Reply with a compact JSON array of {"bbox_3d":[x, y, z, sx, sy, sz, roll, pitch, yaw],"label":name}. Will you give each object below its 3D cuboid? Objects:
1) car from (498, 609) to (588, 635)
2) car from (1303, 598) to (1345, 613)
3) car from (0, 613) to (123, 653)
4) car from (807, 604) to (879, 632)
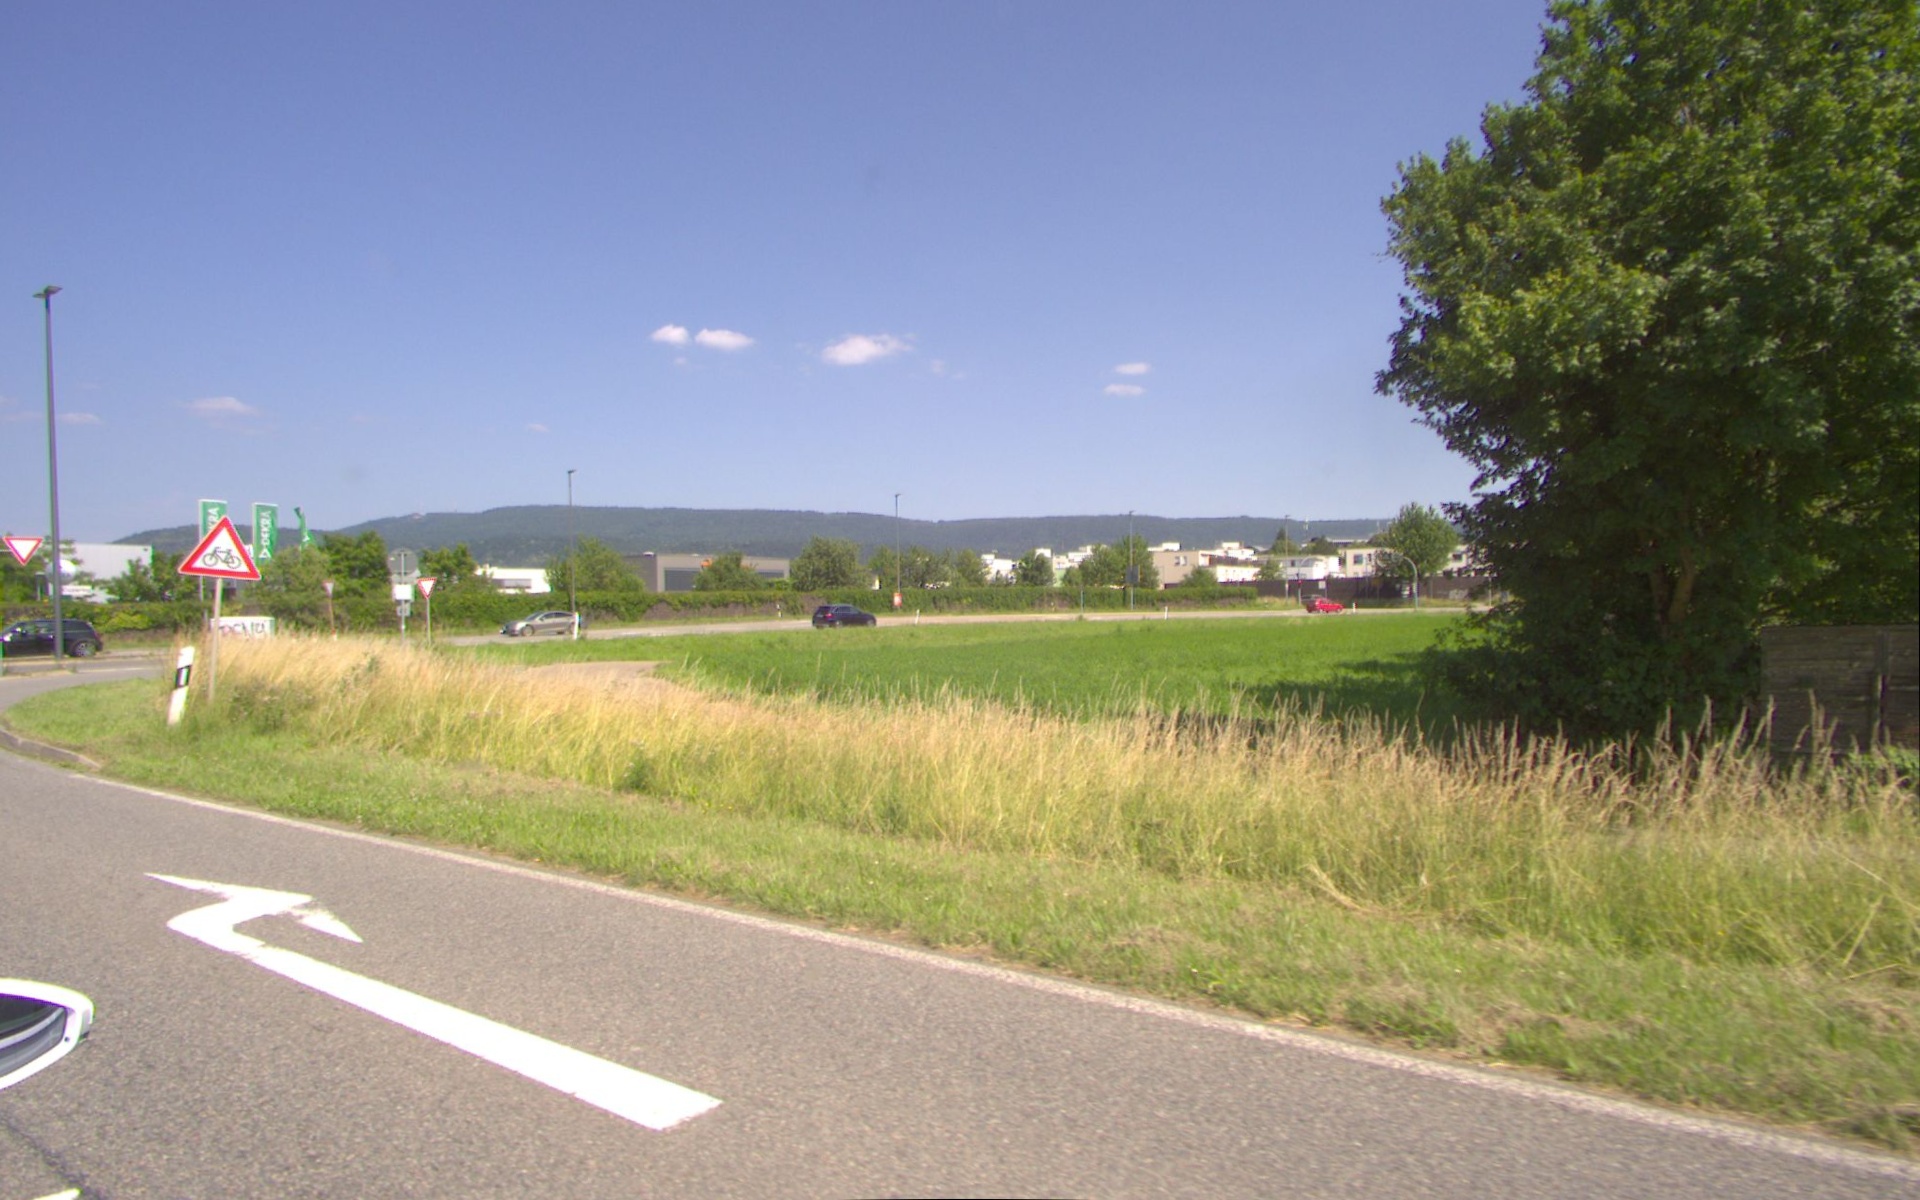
[{"bbox_3d":[-23.479,1.236,56.533,1.787,1.344,4.339,0,0,43],"label":"car"},{"bbox_3d":[37.417,0.565,102.963,3.937,1.567,1.768,-1,0,-26],"label":"car"},{"bbox_3d":[-32.703,1.156,35.901,1.786,1.344,3.965,0,0,43],"label":"car"},{"bbox_3d":[-7.409,1.119,63.465,1.978,1.638,4.302,0,0,42],"label":"car"}]
